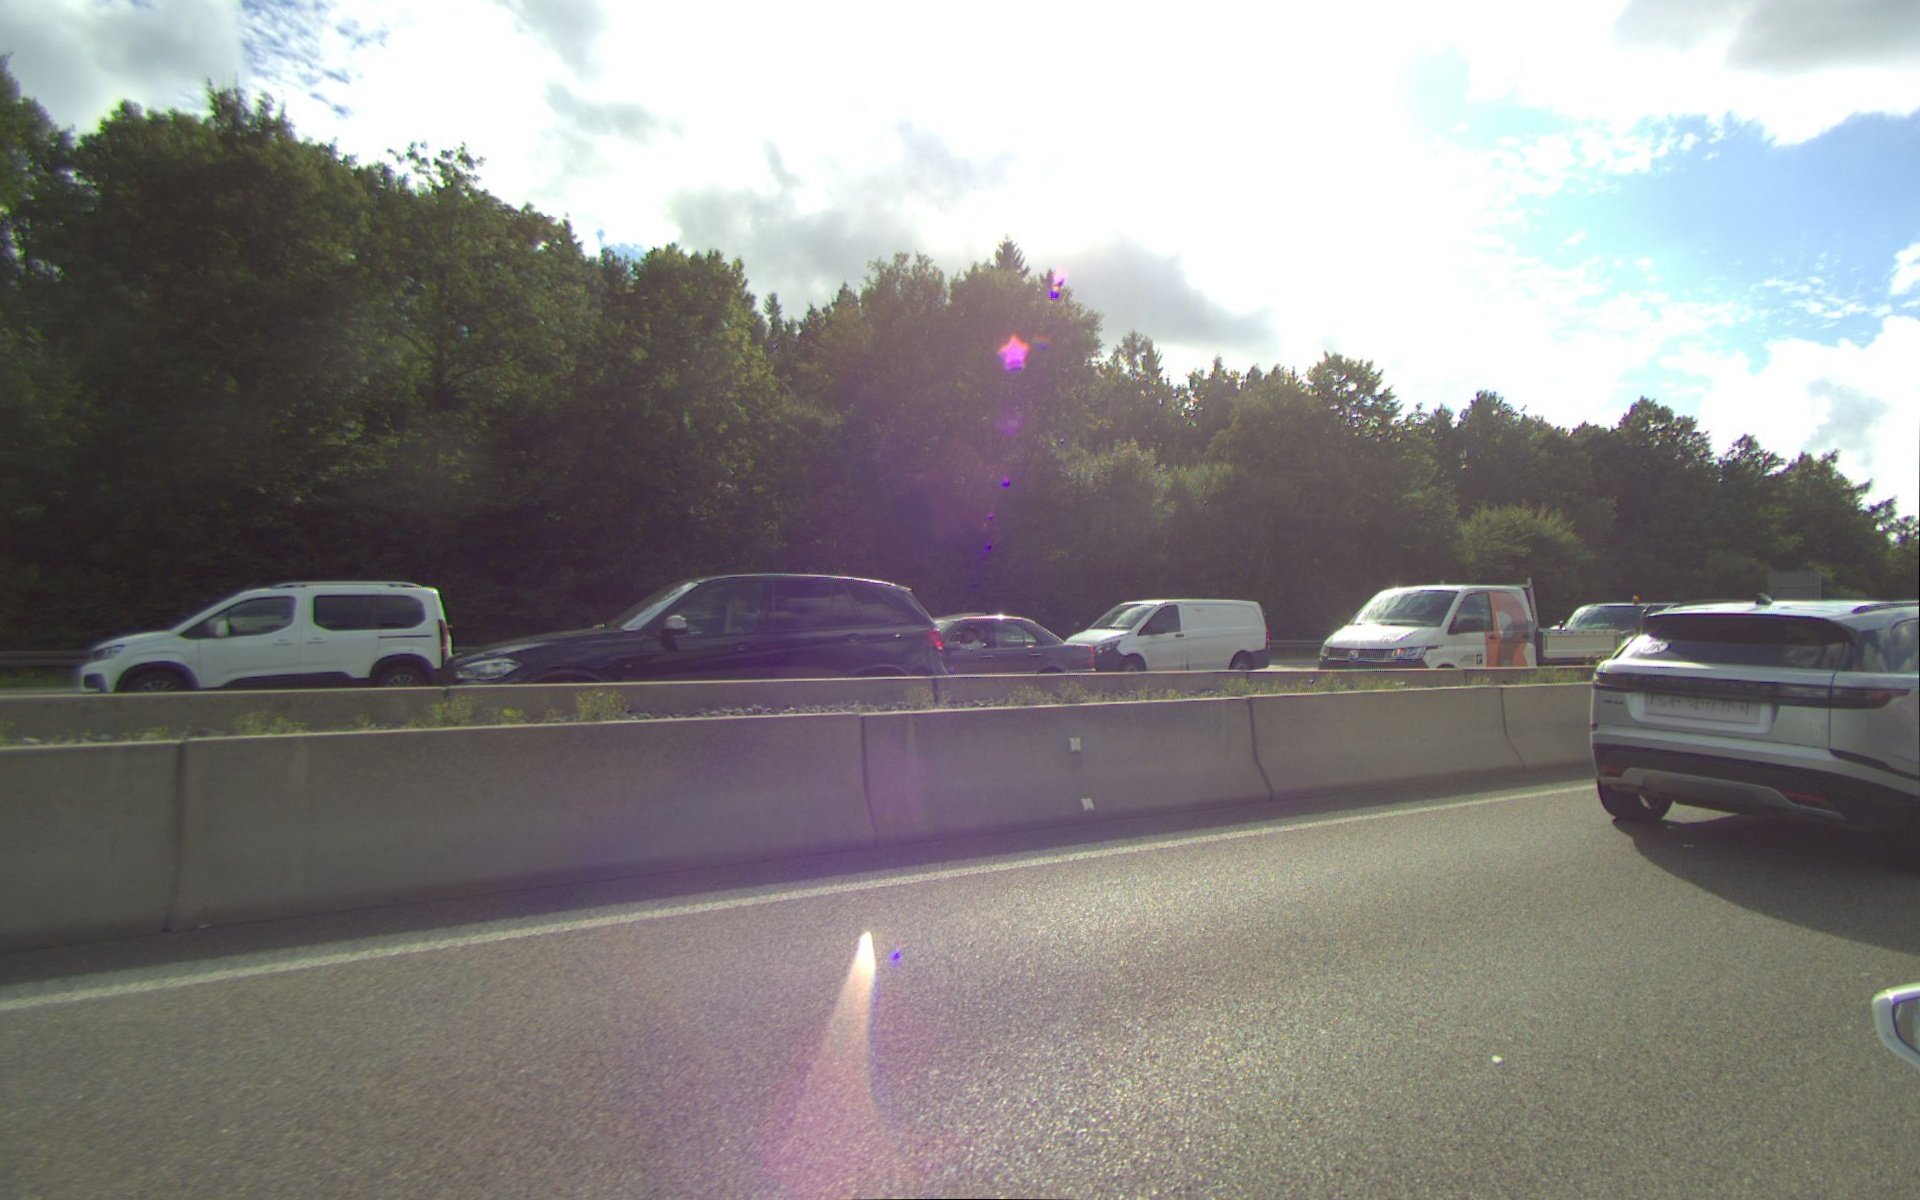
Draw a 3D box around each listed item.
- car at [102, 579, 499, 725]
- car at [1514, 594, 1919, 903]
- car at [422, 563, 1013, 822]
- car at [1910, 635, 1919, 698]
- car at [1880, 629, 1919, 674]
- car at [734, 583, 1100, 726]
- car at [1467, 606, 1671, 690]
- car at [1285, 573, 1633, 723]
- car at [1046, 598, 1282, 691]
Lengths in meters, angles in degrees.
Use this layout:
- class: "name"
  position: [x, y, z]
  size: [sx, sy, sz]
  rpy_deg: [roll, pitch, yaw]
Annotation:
- class: "car"
  position: [-9.216, 0.716, 14.497]
  size: [4.496, 1.823, 1.838]
  rpy_deg: [1, -2, -30]
- class: "car"
  position: [6.670, 0.833, 7.539]
  size: [5.238, 1.638, 1.996]
  rpy_deg: [1, 0, -30]
- class: "car"
  position: [-2.279, 0.782, 9.969]
  size: [5.332, 1.973, 2.161]
  rpy_deg: [1, -2, -30]
- class: "car"
  position: [27.311, 1.759, 26.696]
  size: [4.192, 1.662, 1.904]
  rpy_deg: [1, -2, -30]
- class: "car"
  position: [34.254, 1.783, 34.863]
  size: [5.071, 1.504, 1.984]
  rpy_deg: [1, -2, -30]
- class: "car"
  position: [-0.584, 0.787, 15.328]
  size: [5.198, 1.863, 2.161]
  rpy_deg: [1, -2, -30]
- class: "car"
  position: [14.531, 1.111, 23.916]
  size: [5.065, 1.829, 1.984]
  rpy_deg: [1, -2, -30]
- class: "car"
  position: [8.024, 0.726, 15.992]
  size: [5.752, 2.040, 2.150]
  rpy_deg: [1, -2, -30]
- class: "car"
  position: [4.627, 0.971, 22.523]
  size: [5.279, 1.876, 1.941]
  rpy_deg: [1, -2, -30]
